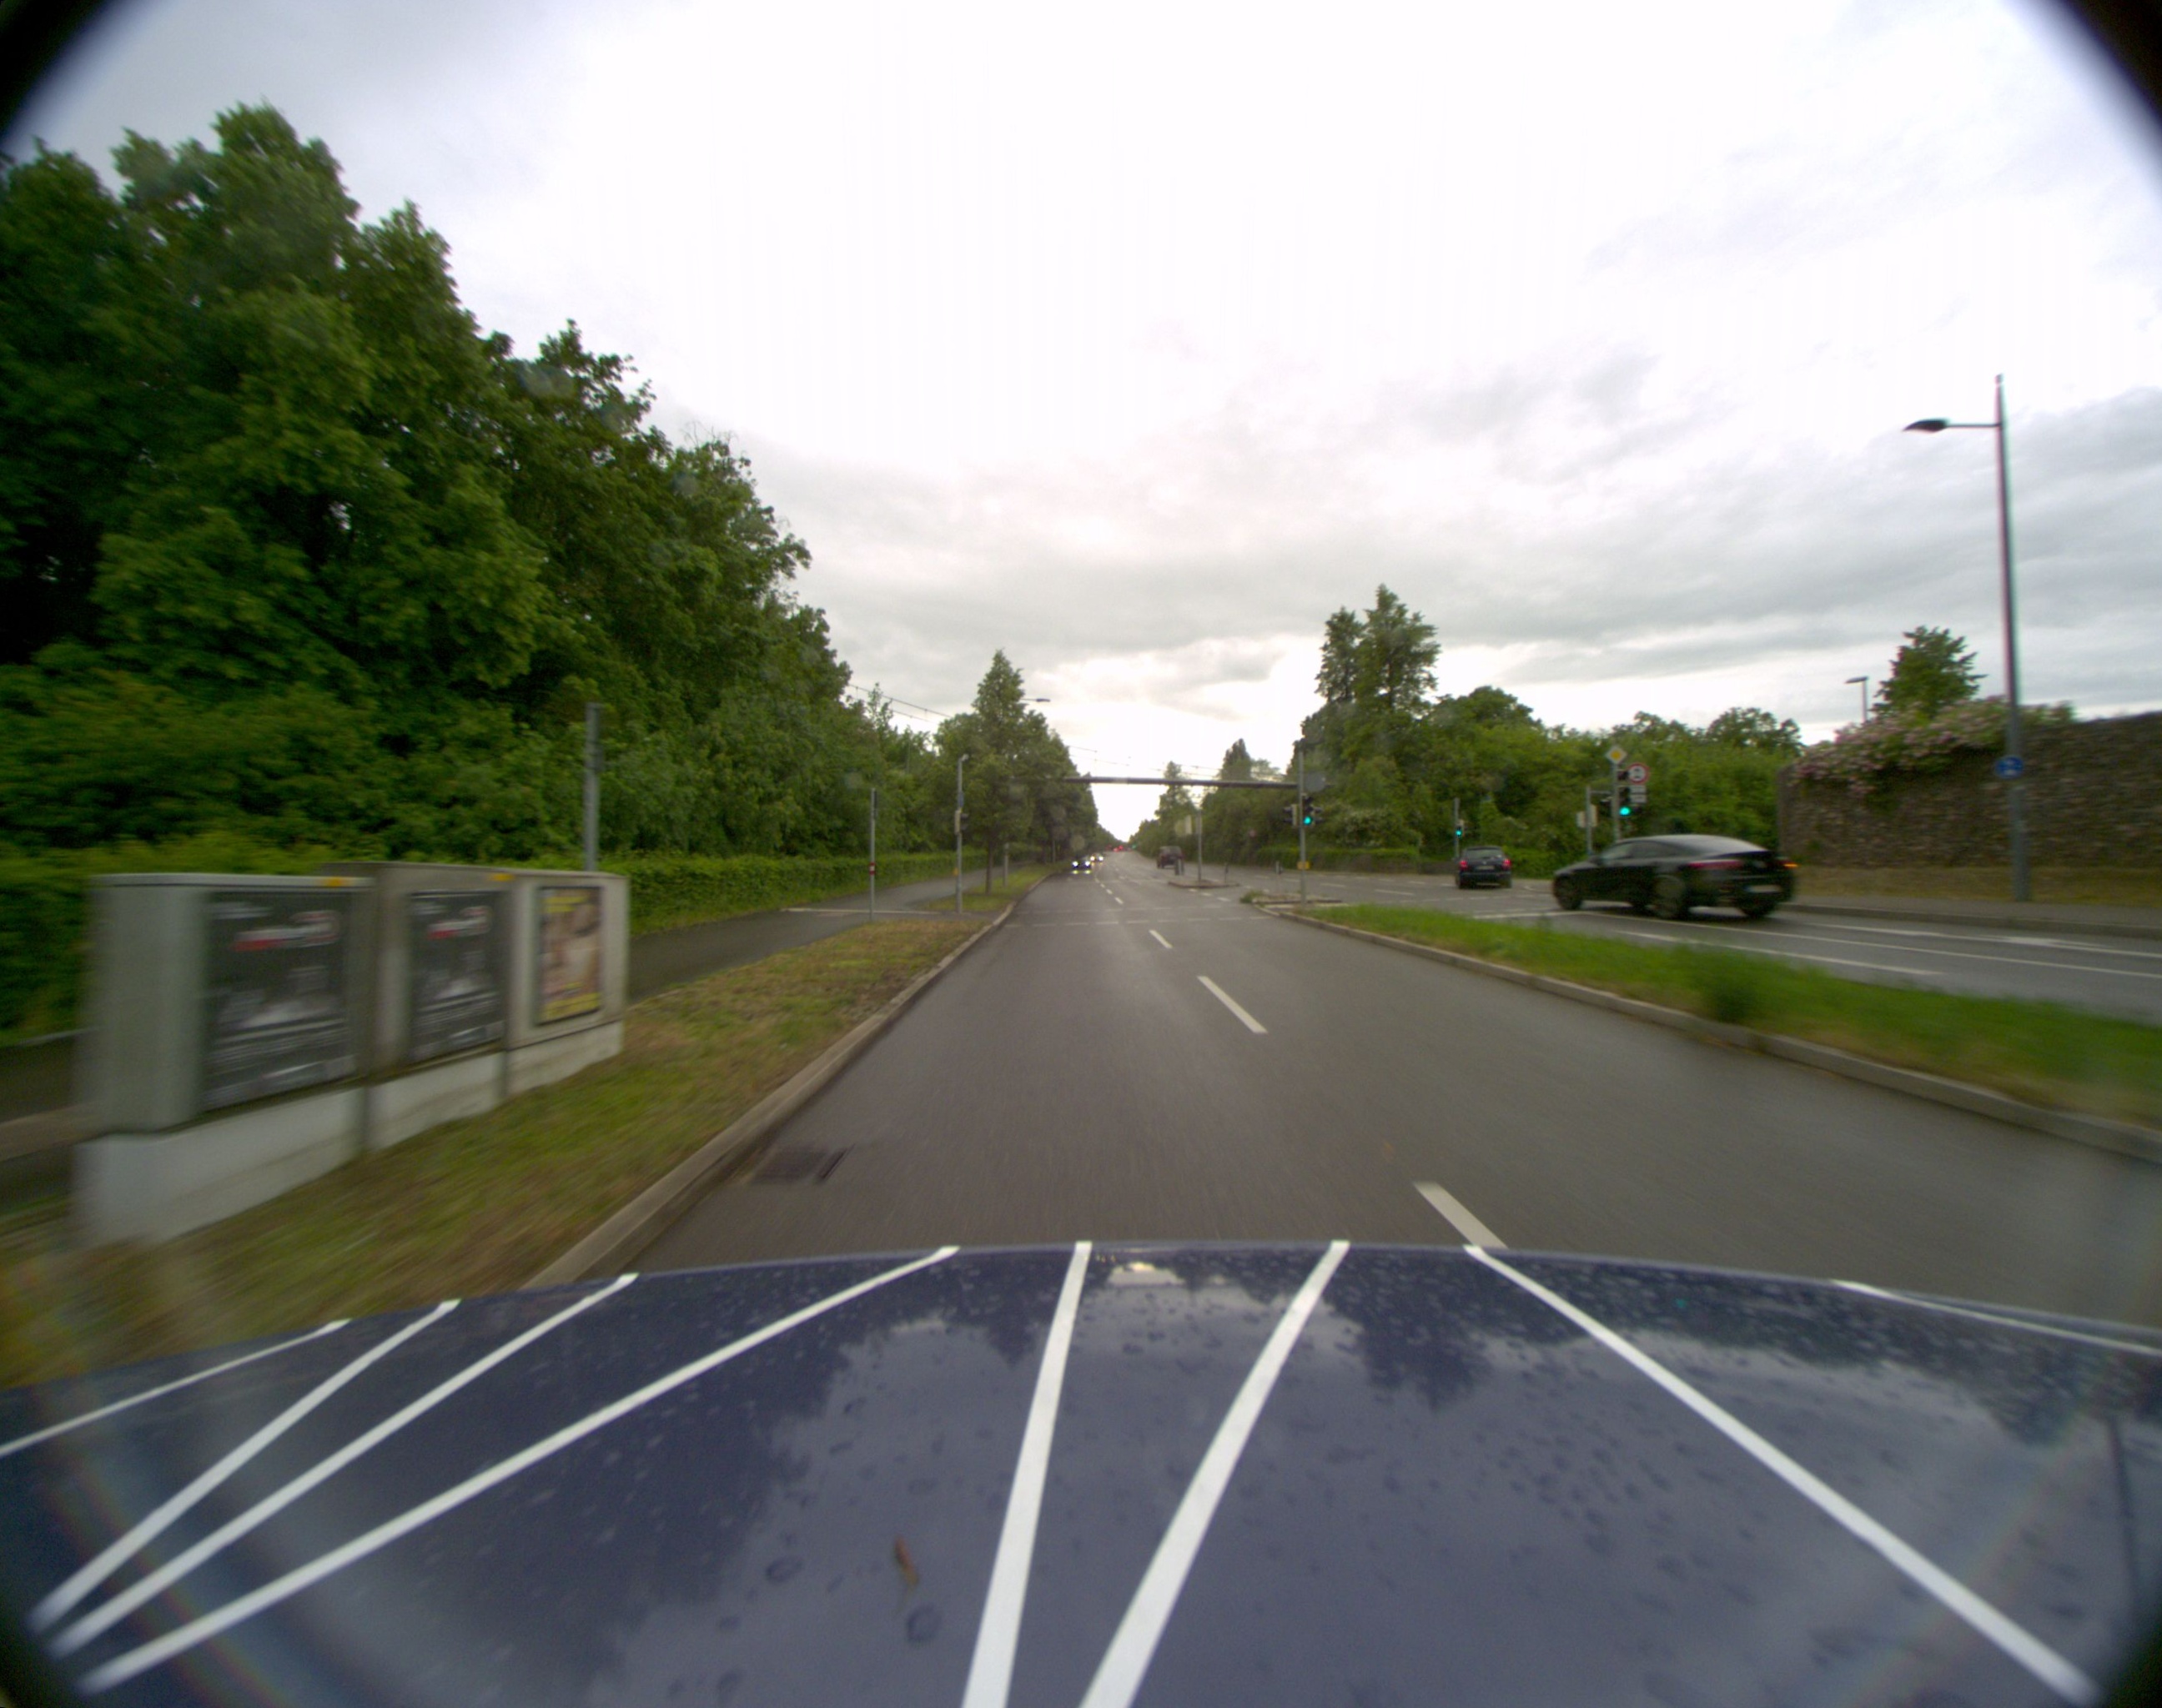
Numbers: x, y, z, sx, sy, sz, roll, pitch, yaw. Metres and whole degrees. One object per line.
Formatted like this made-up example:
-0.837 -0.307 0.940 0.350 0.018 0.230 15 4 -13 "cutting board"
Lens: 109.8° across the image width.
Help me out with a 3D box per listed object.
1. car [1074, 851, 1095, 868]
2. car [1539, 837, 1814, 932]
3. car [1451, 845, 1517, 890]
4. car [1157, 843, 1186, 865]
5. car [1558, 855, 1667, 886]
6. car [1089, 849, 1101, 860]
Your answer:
0.338 0.508 73.221 1.824 1.547 4.000 -1 1 2 "car"
11.858 0.525 15.673 1.886 1.586 4.766 -2 0 0 "car"
14.298 0.441 27.112 1.600 1.481 4.006 -1 0 21 "car"
8.389 -0.005 70.847 2.018 1.908 5.095 -1 0 0 "car"
25.532 0.810 36.617 3.995 1.464 1.693 0 -1 5 "car"
2.280 0.083 122.975 1.824 1.547 3.999 -1 1 0 "car"
